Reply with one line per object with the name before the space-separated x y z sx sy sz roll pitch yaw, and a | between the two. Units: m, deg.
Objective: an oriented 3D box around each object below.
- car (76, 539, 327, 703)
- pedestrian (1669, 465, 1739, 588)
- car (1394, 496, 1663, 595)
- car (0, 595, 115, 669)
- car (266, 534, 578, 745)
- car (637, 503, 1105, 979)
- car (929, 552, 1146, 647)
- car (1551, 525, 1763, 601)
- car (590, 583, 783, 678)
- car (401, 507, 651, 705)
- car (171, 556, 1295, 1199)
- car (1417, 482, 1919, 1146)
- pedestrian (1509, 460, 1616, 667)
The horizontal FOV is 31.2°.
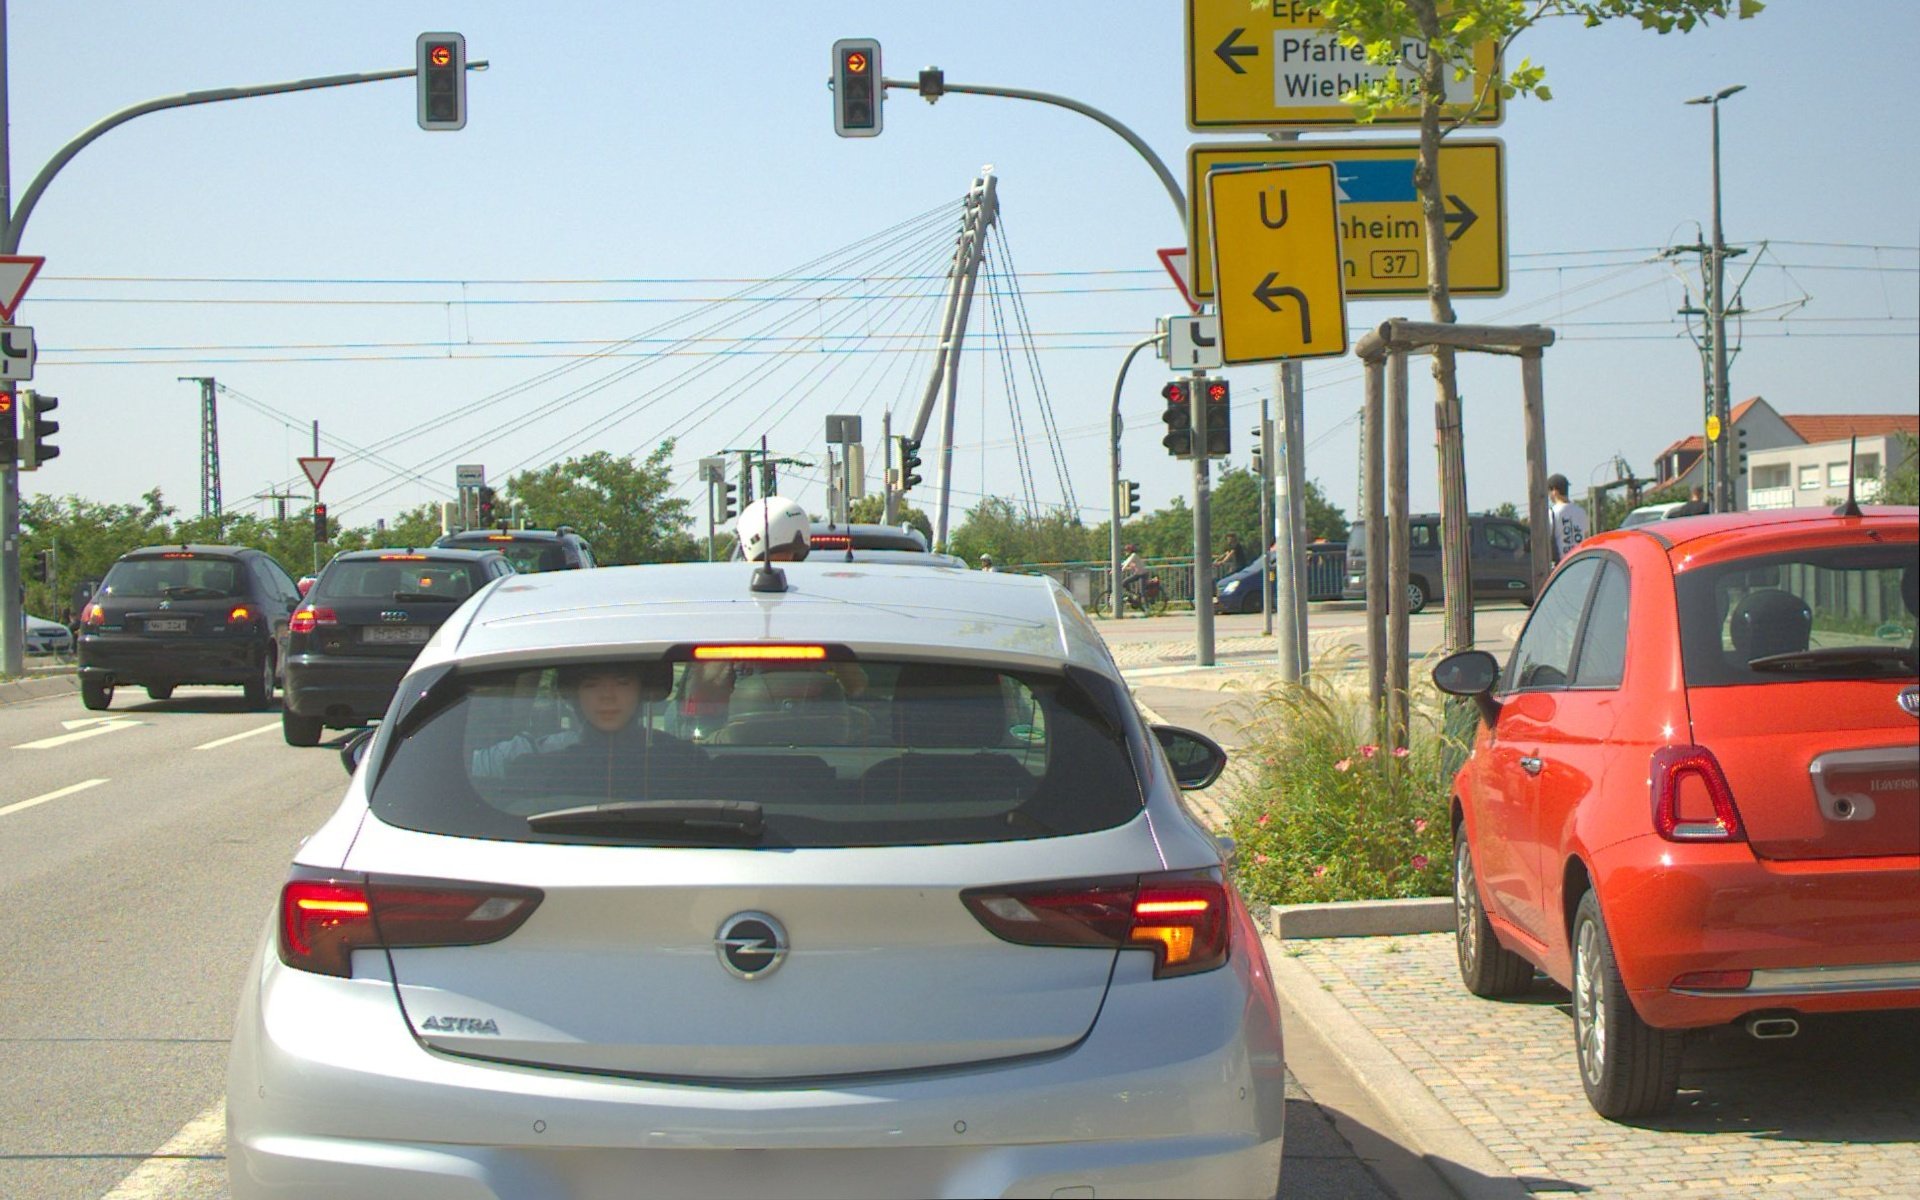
car | -6.769 0.174 30.966 1.587 1.390 3.340 0 0 -1
pedestrian | 11.327 -1.113 52.326 0.753 1.857 0.740 0 0 44
car | 10.649 -1.003 64.538 4.546 1.777 2.001 1 0 -12
car | -18.165 0.587 65.492 3.707 1.328 1.769 1 0 25
car | -3.932 0.268 25.714 1.705 1.407 4.000 2 0 0
car | -0.360 0.501 14.171 1.634 1.668 3.745 1 0 -1
car | 1.405 -0.012 63.480 3.844 1.678 1.665 1 0 -4
car | 15.756 -0.831 77.738 4.244 1.668 2.001 0 0 -18
car | -6.046 0.656 76.223 3.987 2.007 2.000 1 0 4
car | -3.935 0.044 31.724 1.803 1.616 3.917 -3 0 -1
car | -0.388 0.668 7.327 1.690 1.514 4.271 0 1 -1
car | 2.401 0.479 10.030 1.669 1.534 3.916 -2 0 2
pedestrian | 5.406 -0.322 30.884 0.758 1.823 0.885 1 0 -1
